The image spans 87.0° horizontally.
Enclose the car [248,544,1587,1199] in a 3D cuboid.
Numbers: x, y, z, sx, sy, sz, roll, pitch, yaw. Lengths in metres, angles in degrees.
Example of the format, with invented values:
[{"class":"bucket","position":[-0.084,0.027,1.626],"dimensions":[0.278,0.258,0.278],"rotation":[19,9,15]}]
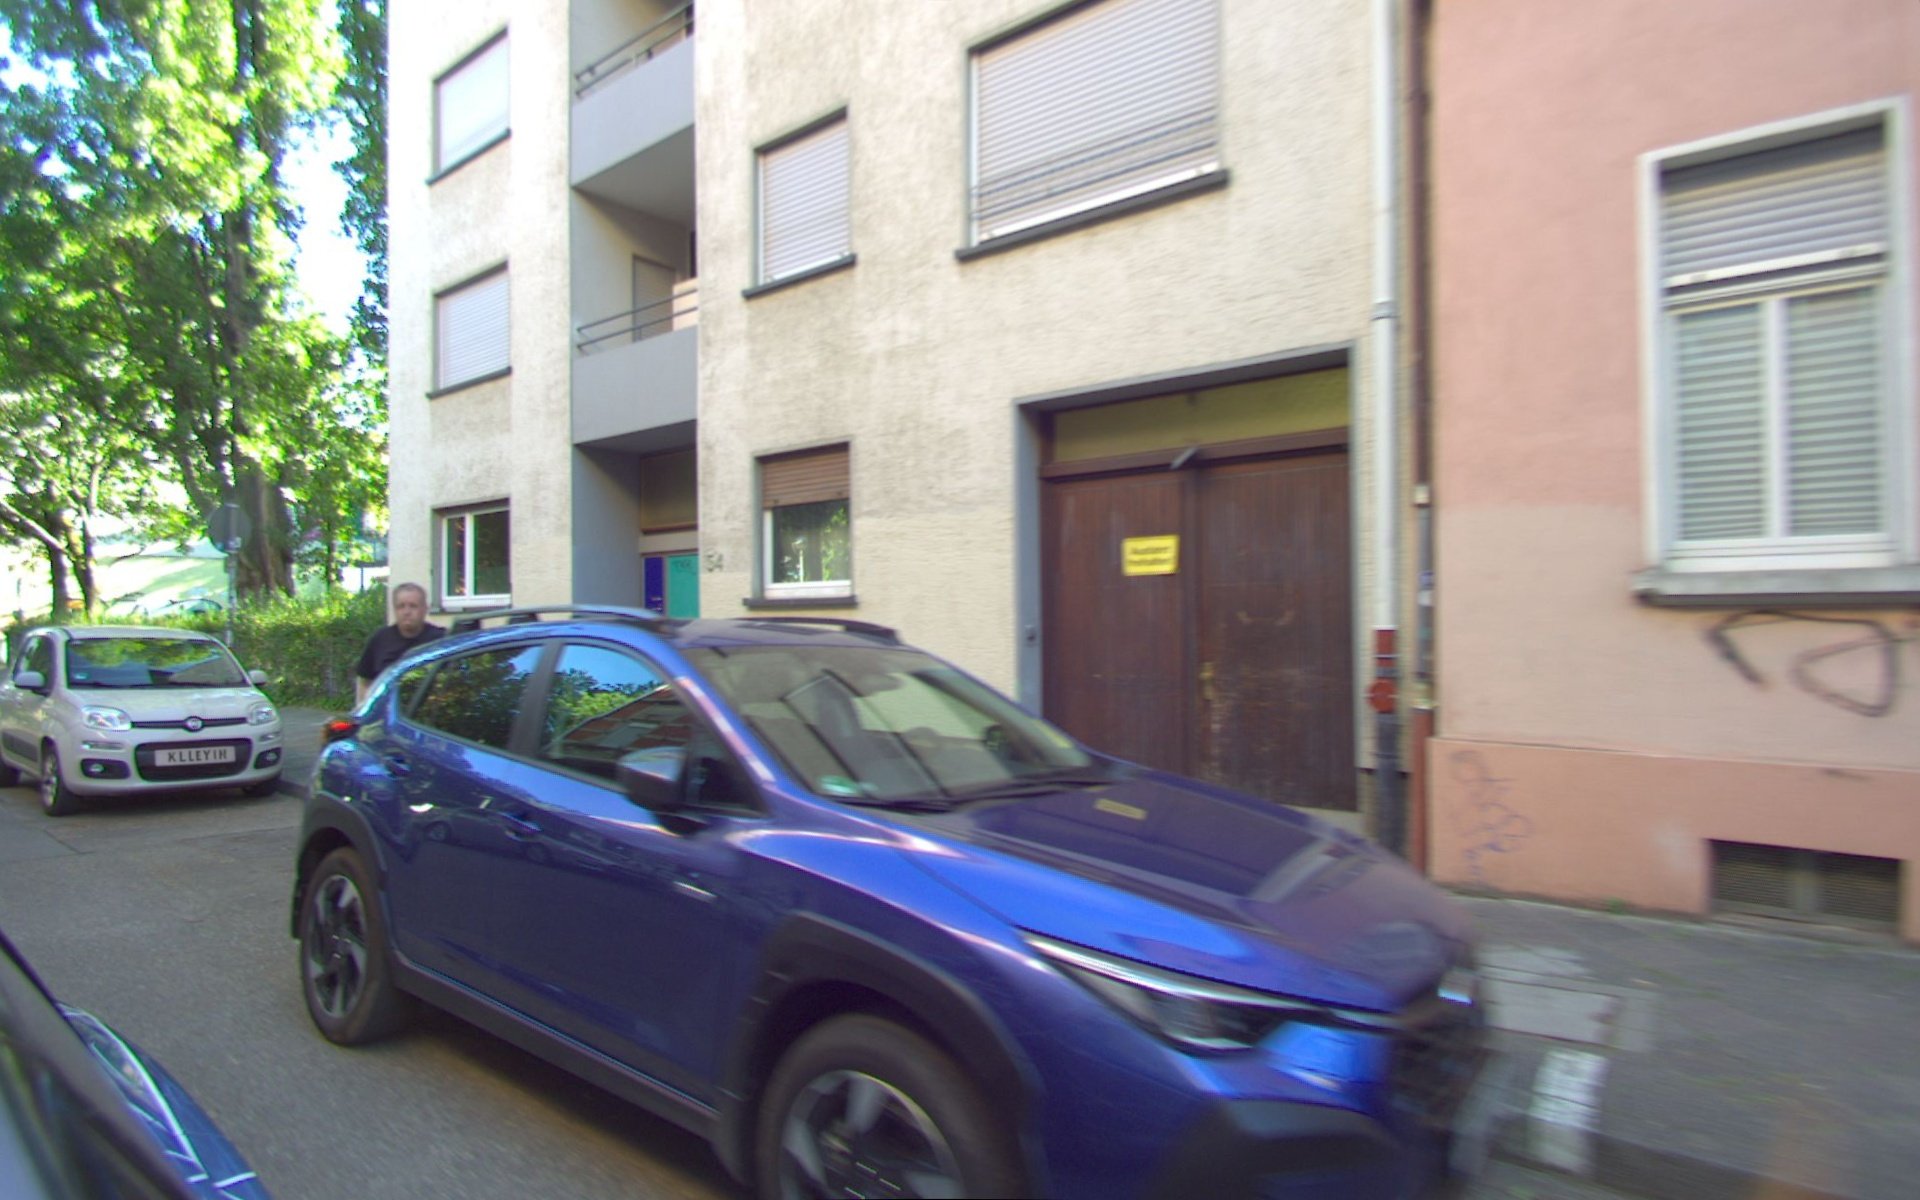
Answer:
[{"class":"car","position":[-0.570,0.765,3.372],"dimensions":[4.371,1.551,1.713],"rotation":[-1,-3,38]}]

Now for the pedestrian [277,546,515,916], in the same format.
[{"class":"pedestrian","position":[-3.094,0.669,5.623],"dimensions":[0.668,1.853,0.904],"rotation":[0,-2,21]}]

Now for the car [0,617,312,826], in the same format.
[{"class":"car","position":[-7.740,0.954,9.376],"dimensions":[3.862,1.551,1.659],"rotation":[-1,-3,37]}]
